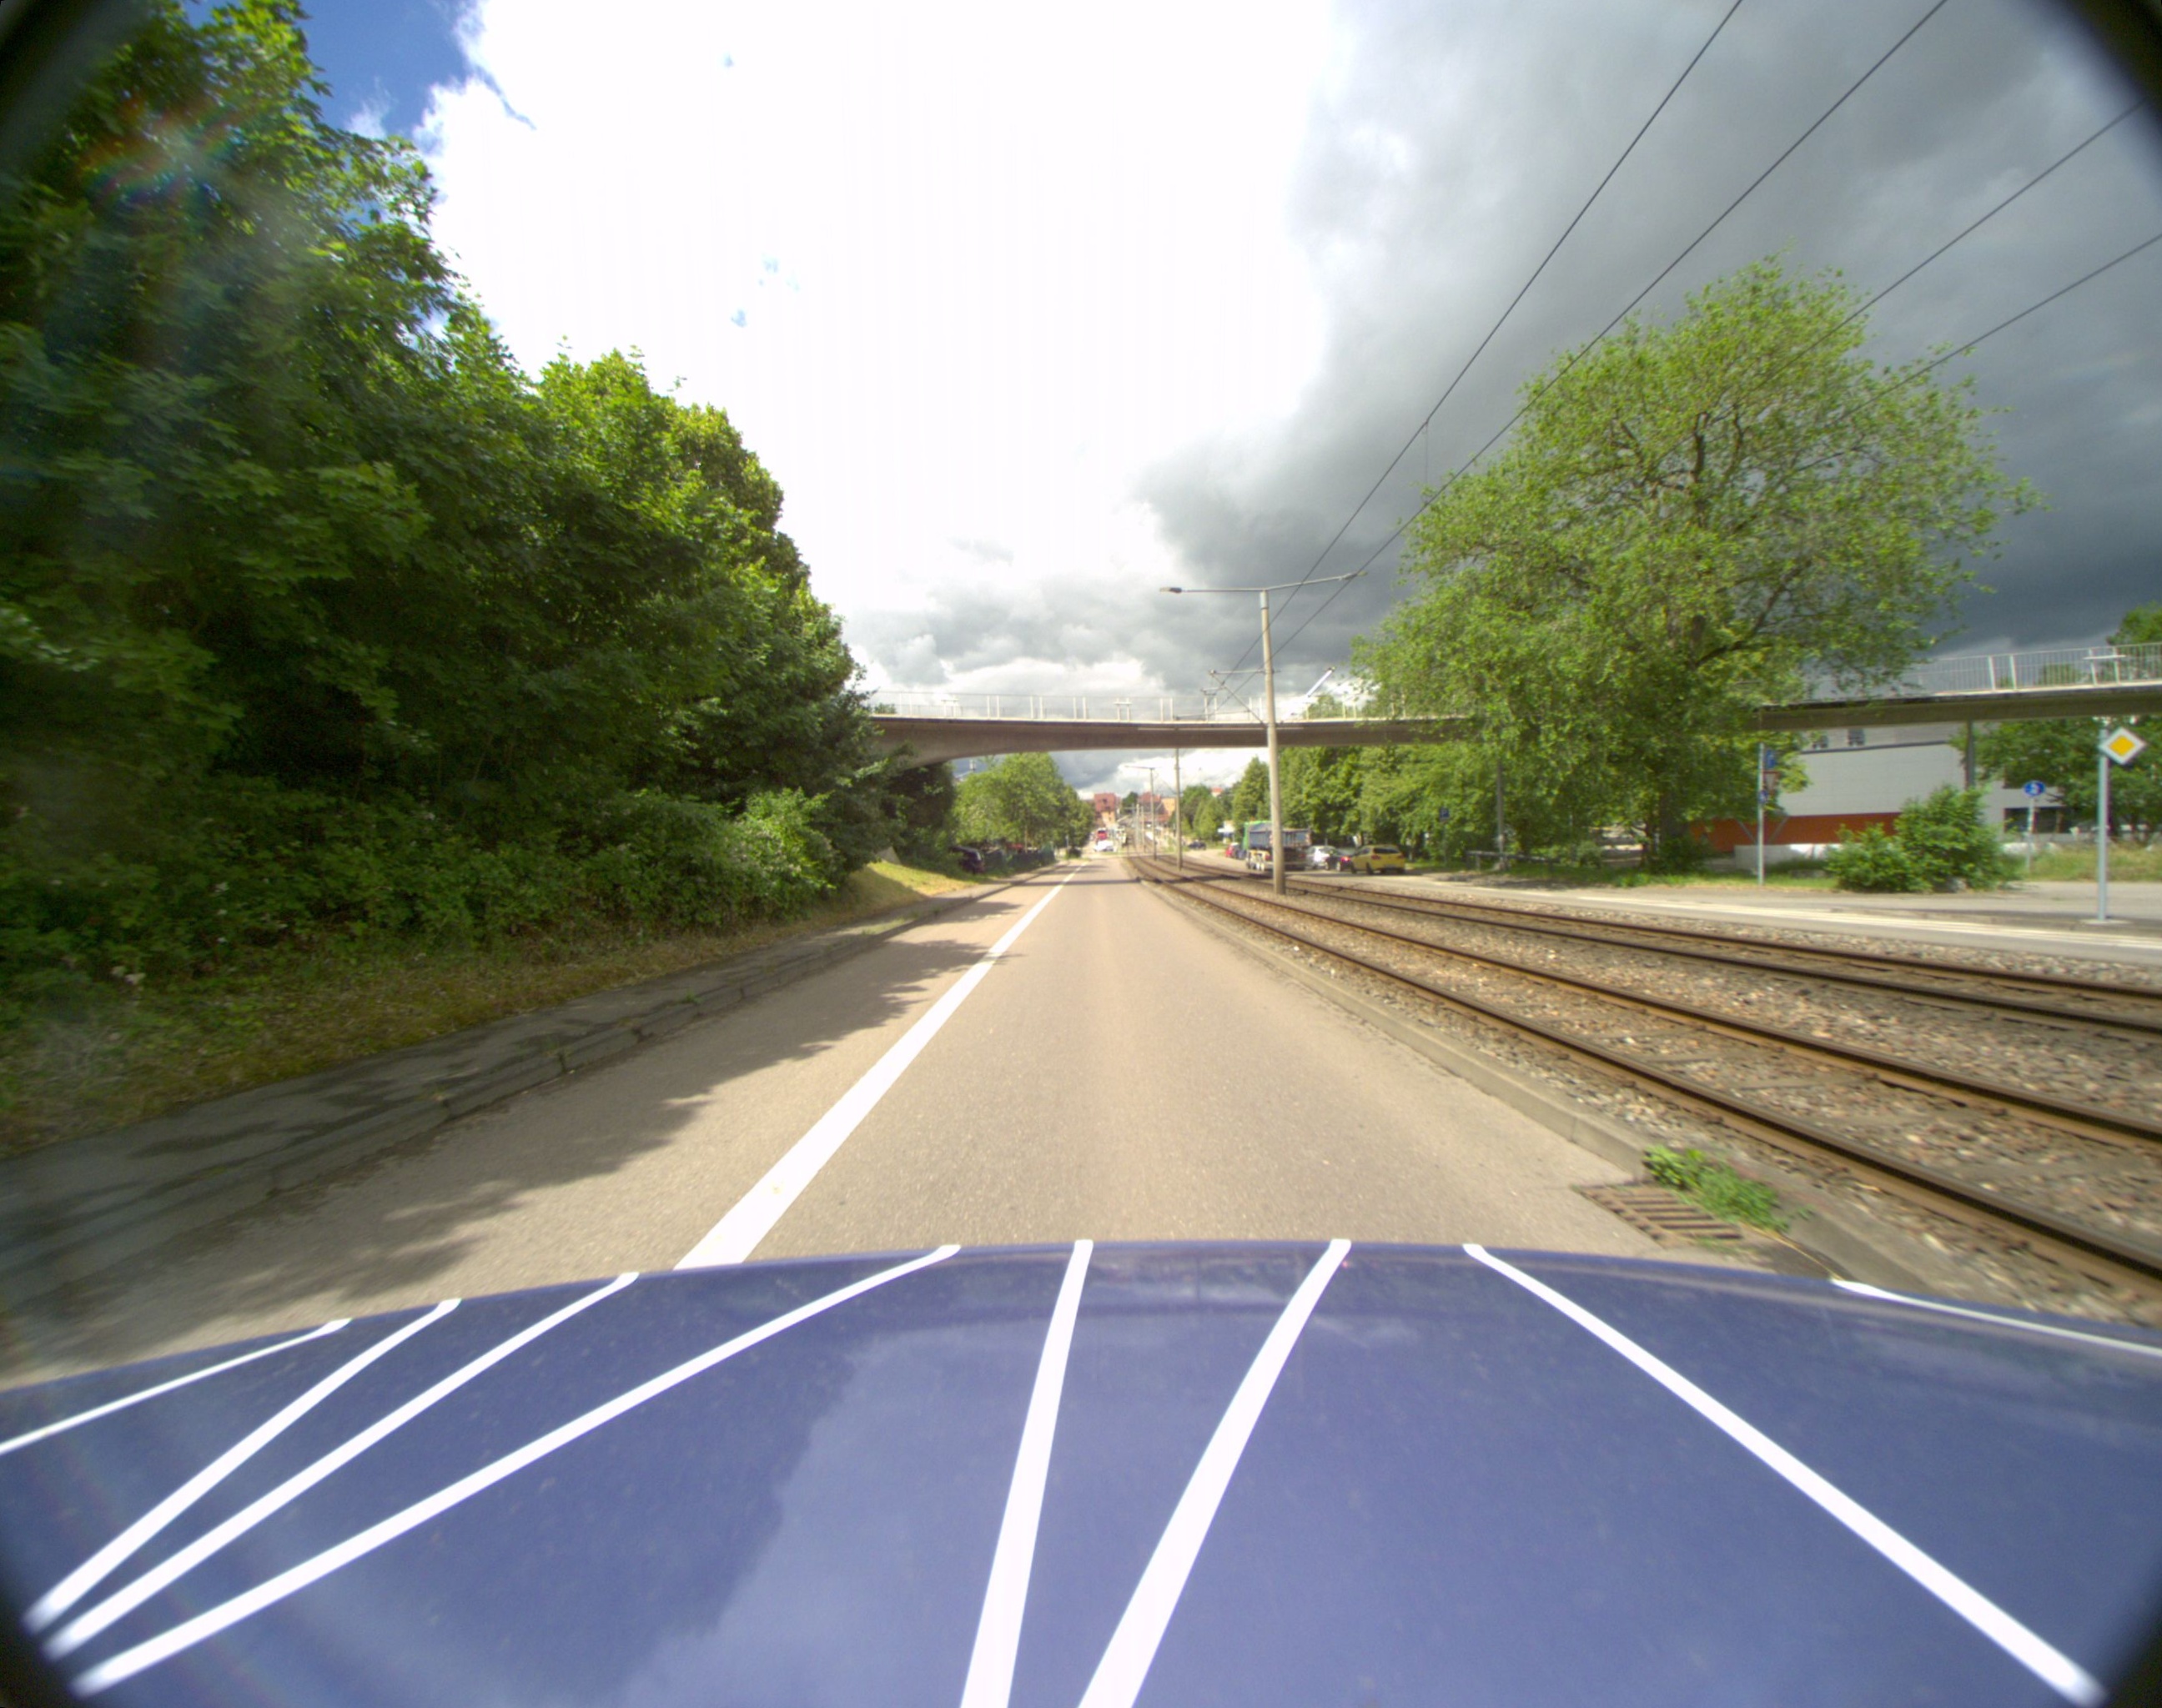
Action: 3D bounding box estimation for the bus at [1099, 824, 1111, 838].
[{"bbox_3d":[7.385,-6.942,230.119,2.923,3.864,10.378,-2,2,4],"label":"bus"}]

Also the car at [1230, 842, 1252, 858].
[{"bbox_3d":[16.707,-0.464,79.407,1.583,1.596,4.375,-1,1,3],"label":"car"}]

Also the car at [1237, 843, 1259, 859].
[{"bbox_3d":[16.330,-0.296,74.328,1.616,1.453,4.008,0,1,5],"label":"car"}]

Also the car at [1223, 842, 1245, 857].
[{"bbox_3d":[17.170,-0.472,85.383,1.617,1.444,3.660,-4,2,1],"label":"car"}]

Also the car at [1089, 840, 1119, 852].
[{"bbox_3d":[4.230,-1.489,139.126,5.221,2.007,1.884,-2,3,34],"label":"car"}]

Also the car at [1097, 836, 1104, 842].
[{"bbox_3d":[4.829,-3.744,189.491,1.858,1.576,4.324,-2,2,1],"label":"car"}]

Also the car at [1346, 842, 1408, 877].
[{"bbox_3d":[14.726,0.239,38.000,1.693,1.442,3.897,-4,2,3],"label":"car"}]

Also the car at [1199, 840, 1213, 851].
[{"bbox_3d":[20.312,-1.465,123.651,1.617,1.565,3.999,-4,2,3],"label":"car"}]

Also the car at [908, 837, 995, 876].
[{"bbox_3d":[-7.539,0.114,44.416,4.534,1.662,1.999,6,3,3],"label":"car"}]

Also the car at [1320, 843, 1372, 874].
[{"bbox_3d":[14.828,0.235,42.714,1.693,1.442,3.897,-4,2,3],"label":"car"}]

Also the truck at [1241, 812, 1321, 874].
[{"bbox_3d":[12.300,-0.752,47.612,2.878,3.301,9.029,-4,2,3],"label":"truck"}]
